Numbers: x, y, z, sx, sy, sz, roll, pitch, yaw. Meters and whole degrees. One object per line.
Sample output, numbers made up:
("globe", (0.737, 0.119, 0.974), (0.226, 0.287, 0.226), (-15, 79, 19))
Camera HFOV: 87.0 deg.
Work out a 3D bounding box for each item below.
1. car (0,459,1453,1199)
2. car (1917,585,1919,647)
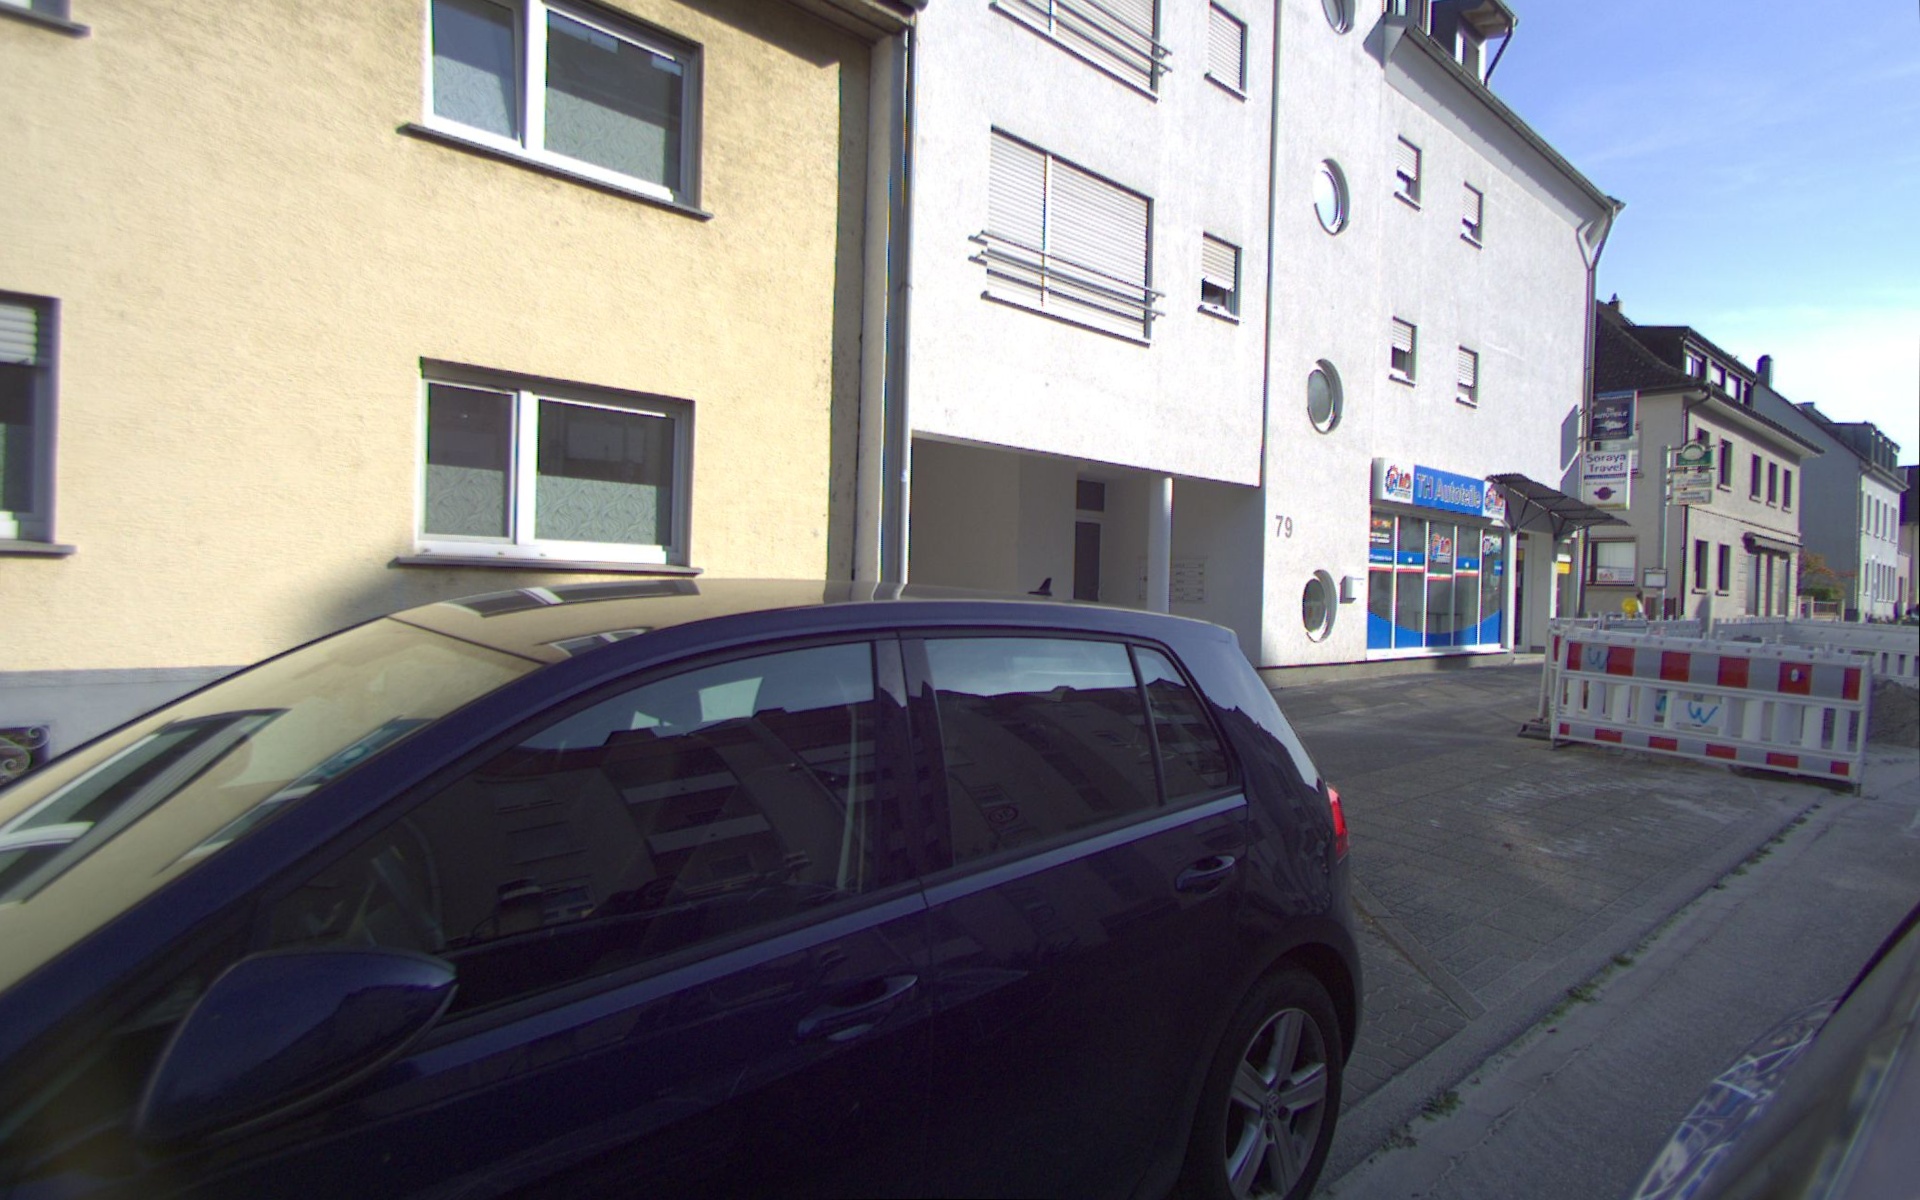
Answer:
("car", (-0.792, 0.599, 2.066), (3.873, 1.500, 1.833), (0, 2, -41))
("car", (28.079, 0.454, 28.074), (4.386, 1.650, 1.833), (0, 2, -42))
